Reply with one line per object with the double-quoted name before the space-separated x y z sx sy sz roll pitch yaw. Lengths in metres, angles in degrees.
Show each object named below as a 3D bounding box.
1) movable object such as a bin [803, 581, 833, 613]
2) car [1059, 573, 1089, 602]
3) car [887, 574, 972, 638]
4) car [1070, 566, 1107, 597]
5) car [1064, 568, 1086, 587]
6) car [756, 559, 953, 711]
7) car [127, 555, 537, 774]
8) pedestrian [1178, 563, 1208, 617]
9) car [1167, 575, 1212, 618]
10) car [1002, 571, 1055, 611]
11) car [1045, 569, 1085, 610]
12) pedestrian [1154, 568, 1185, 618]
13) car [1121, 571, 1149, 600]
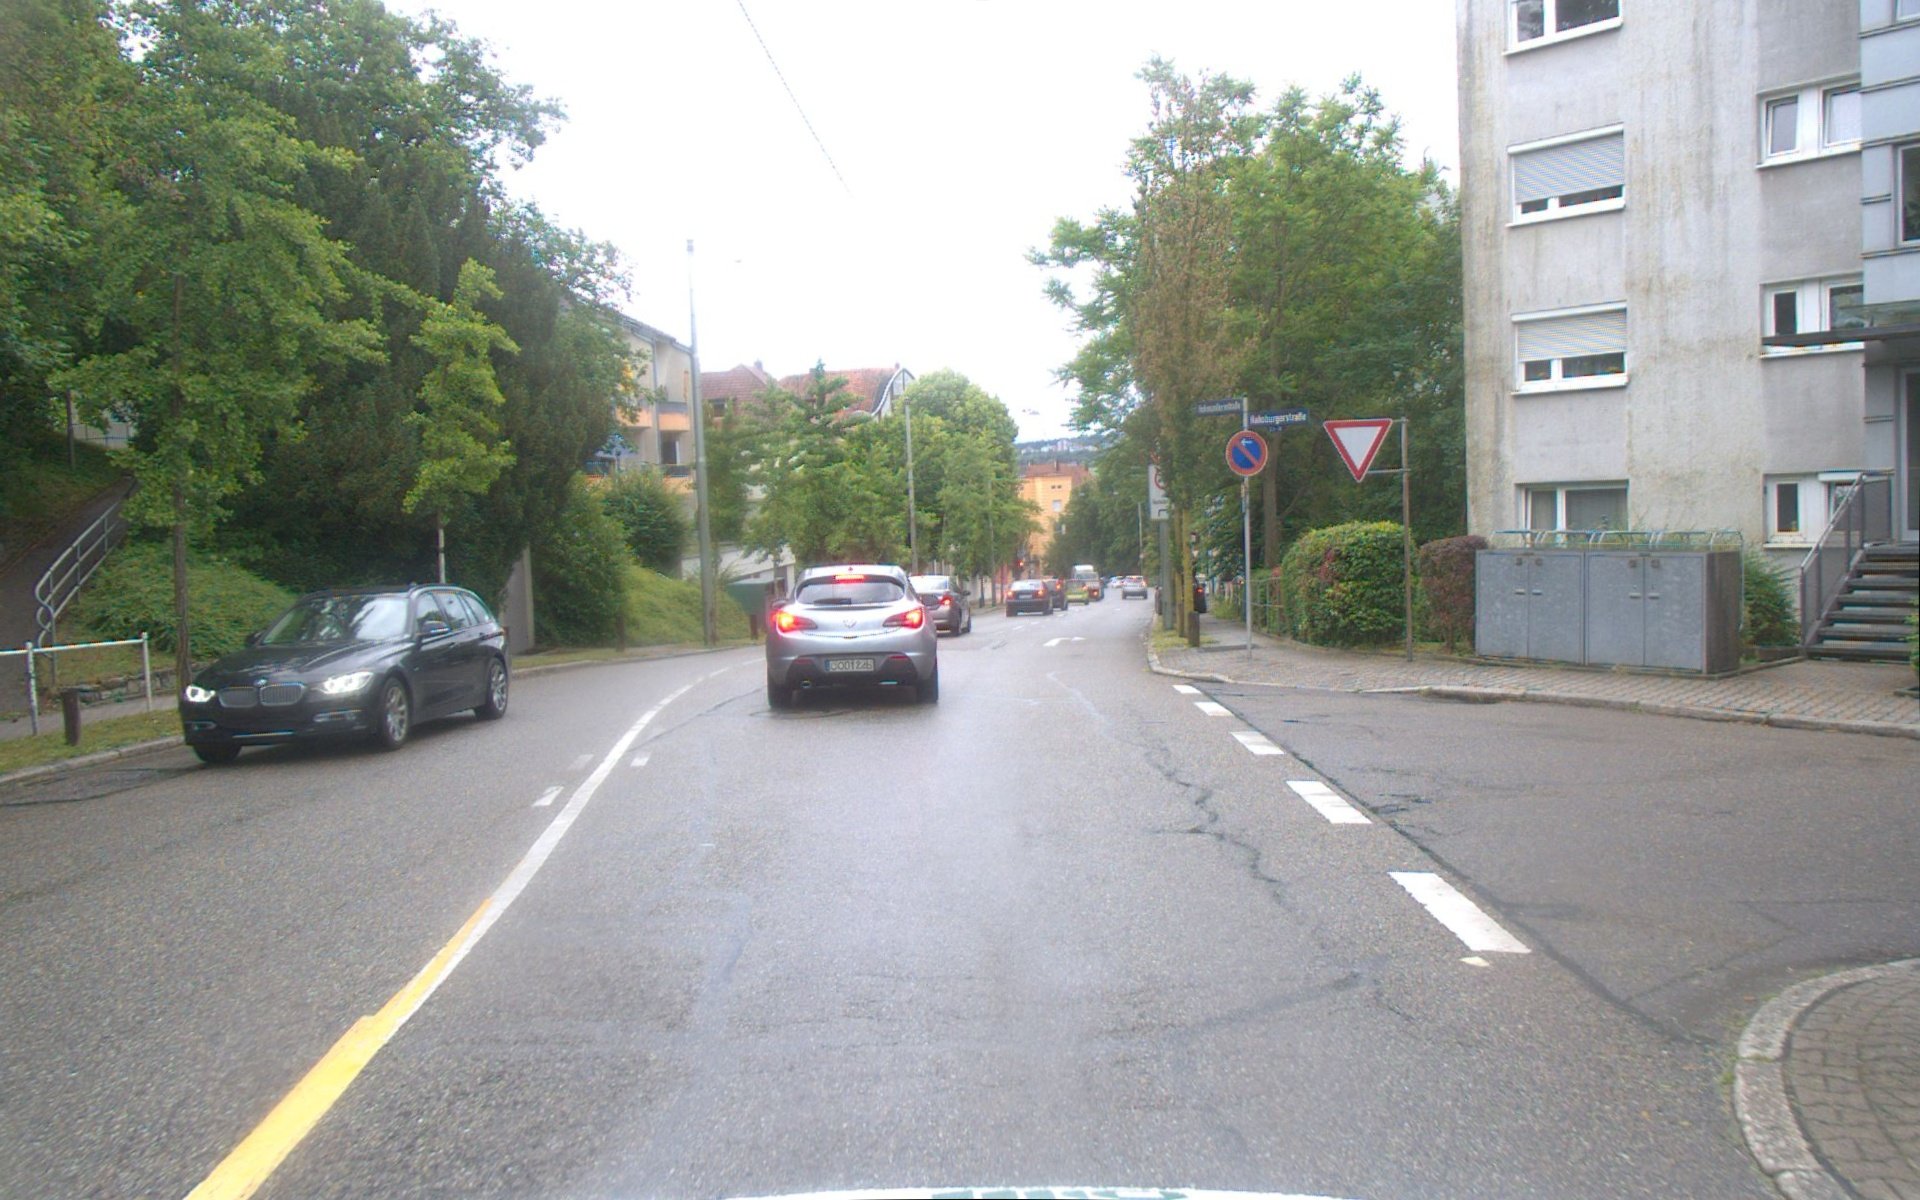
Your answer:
"movable object such as a bin" -6.522 -0.134 76.055 1.245 1.411 0.489 -1 1 5
"car" 6.926 -0.748 100.535 1.717 1.680 4.003 0 0 5
"car" -0.672 0.098 38.948 1.760 1.346 4.001 -1 1 2
"car" 8.826 -1.283 113.555 2.284 2.071 4.739 0 1 7
"car" 11.632 -2.296 167.178 1.951 1.815 4.004 1 1 8
"car" -1.066 0.313 18.579 1.905 1.456 3.884 -2 1 0
"car" -5.754 0.517 15.885 1.872 1.612 4.588 -6 0 3
"pedestrian" 8.426 -0.350 59.761 0.656 1.868 0.682 -5 0 -28
"car" 8.585 -0.139 62.031 1.472 1.460 4.003 -3 0 6
"car" 2.742 -0.388 65.513 1.919 1.498 3.954 0 1 5
"car" 4.905 -0.515 77.173 1.731 1.812 3.979 0 1 5
"pedestrian" 7.566 -0.253 59.707 0.724 1.753 0.761 -5 0 -18
"car" 12.906 -1.104 121.806 1.951 2.071 4.739 0 1 7
